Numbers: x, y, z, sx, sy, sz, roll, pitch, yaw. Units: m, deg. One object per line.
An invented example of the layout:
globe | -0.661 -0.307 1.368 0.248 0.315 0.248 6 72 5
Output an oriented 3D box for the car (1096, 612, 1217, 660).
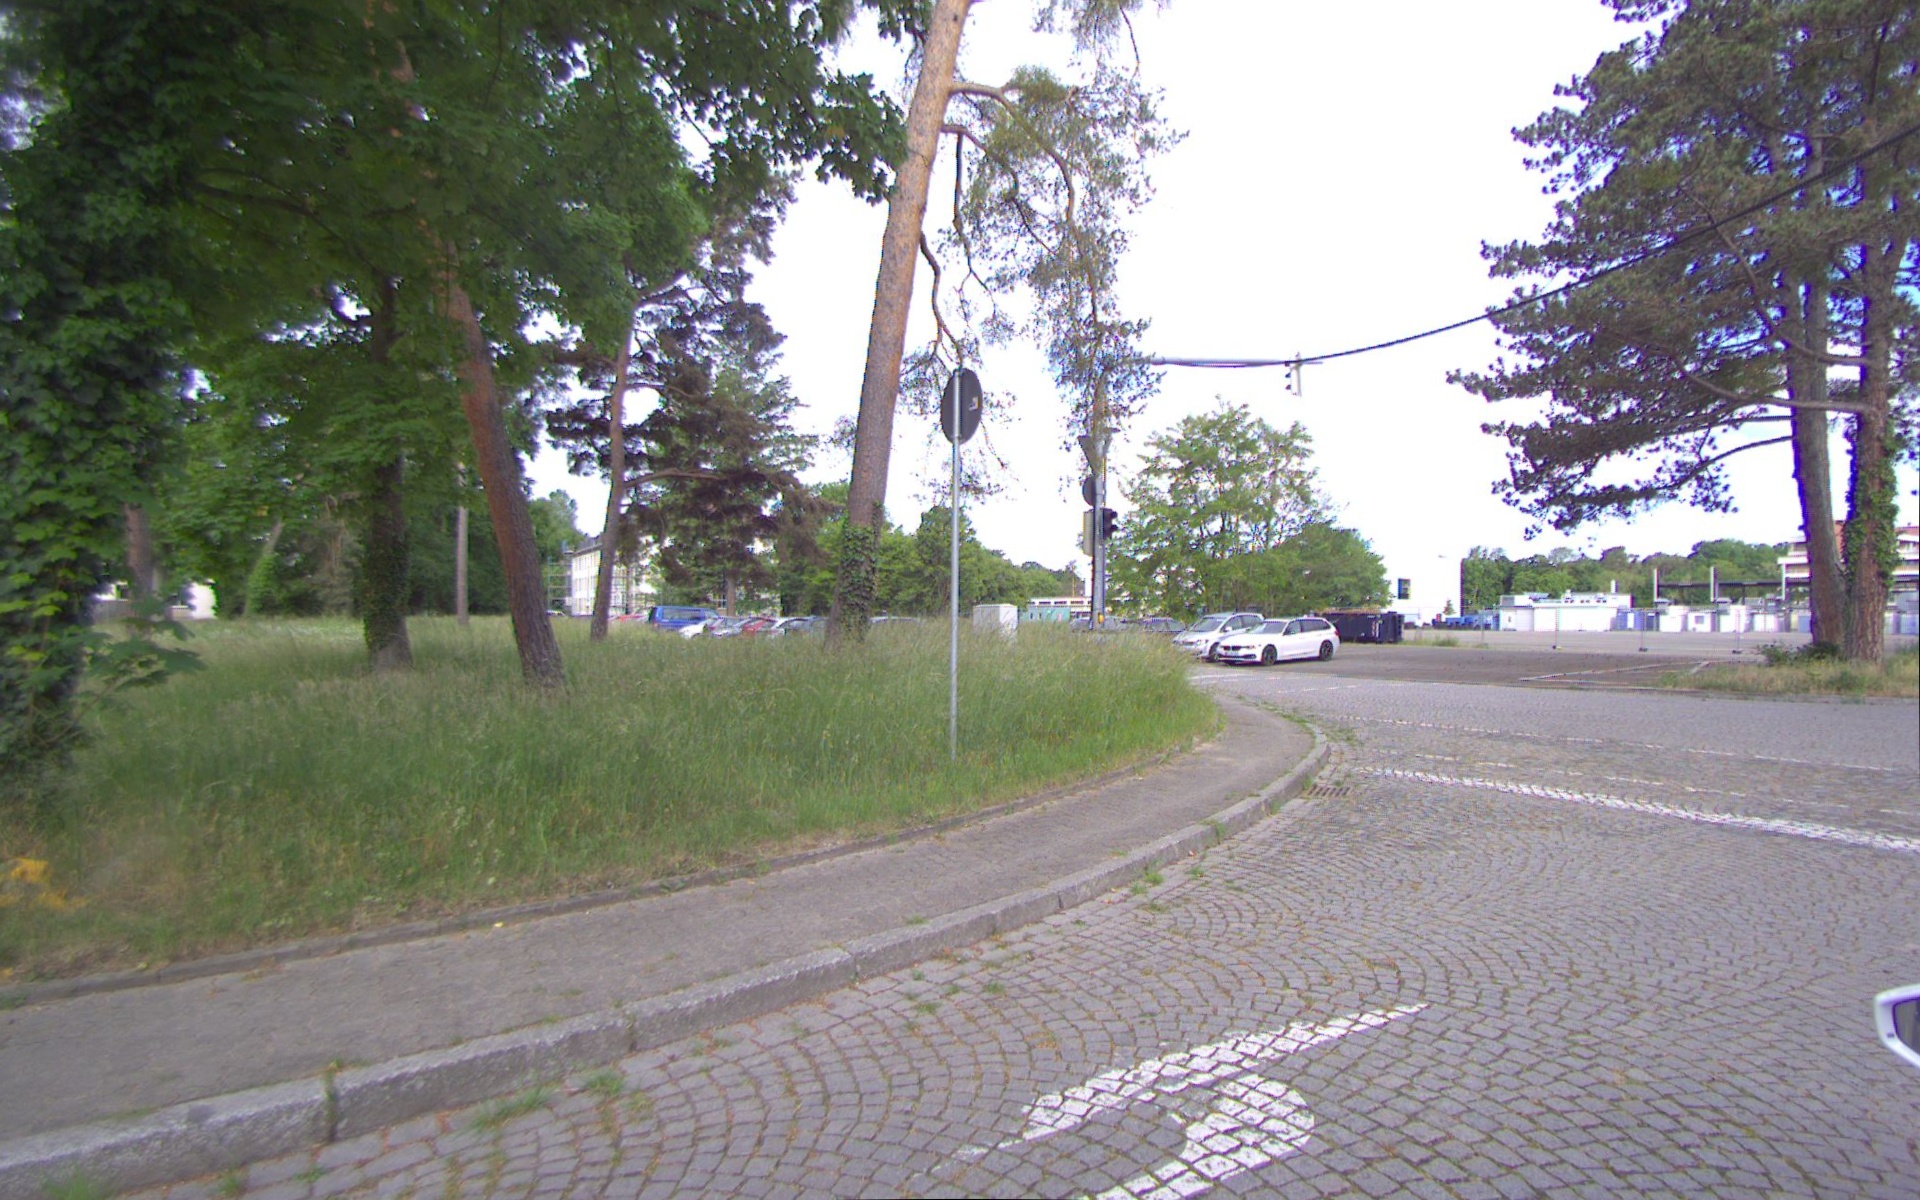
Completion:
car | 7.228 1.267 36.817 4.280 1.522 1.843 -2 1 -34

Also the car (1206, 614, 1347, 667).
car | 10.289 1.258 32.557 4.689 1.461 1.799 -2 1 -33

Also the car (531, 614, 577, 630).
car | -50.775 2.736 125.741 5.104 2.040 1.983 1 -1 -31

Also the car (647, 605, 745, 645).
car | -14.046 1.303 53.534 4.737 2.007 1.982 0 0 -30

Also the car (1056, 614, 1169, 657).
car | 5.977 1.366 39.192 4.281 1.587 1.782 1 -1 -34

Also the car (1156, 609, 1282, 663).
car | 8.977 1.204 34.670 4.280 1.605 1.810 -2 1 -34

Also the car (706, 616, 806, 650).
car | -8.897 1.425 43.885 3.952 1.457 1.678 1 -1 -30
